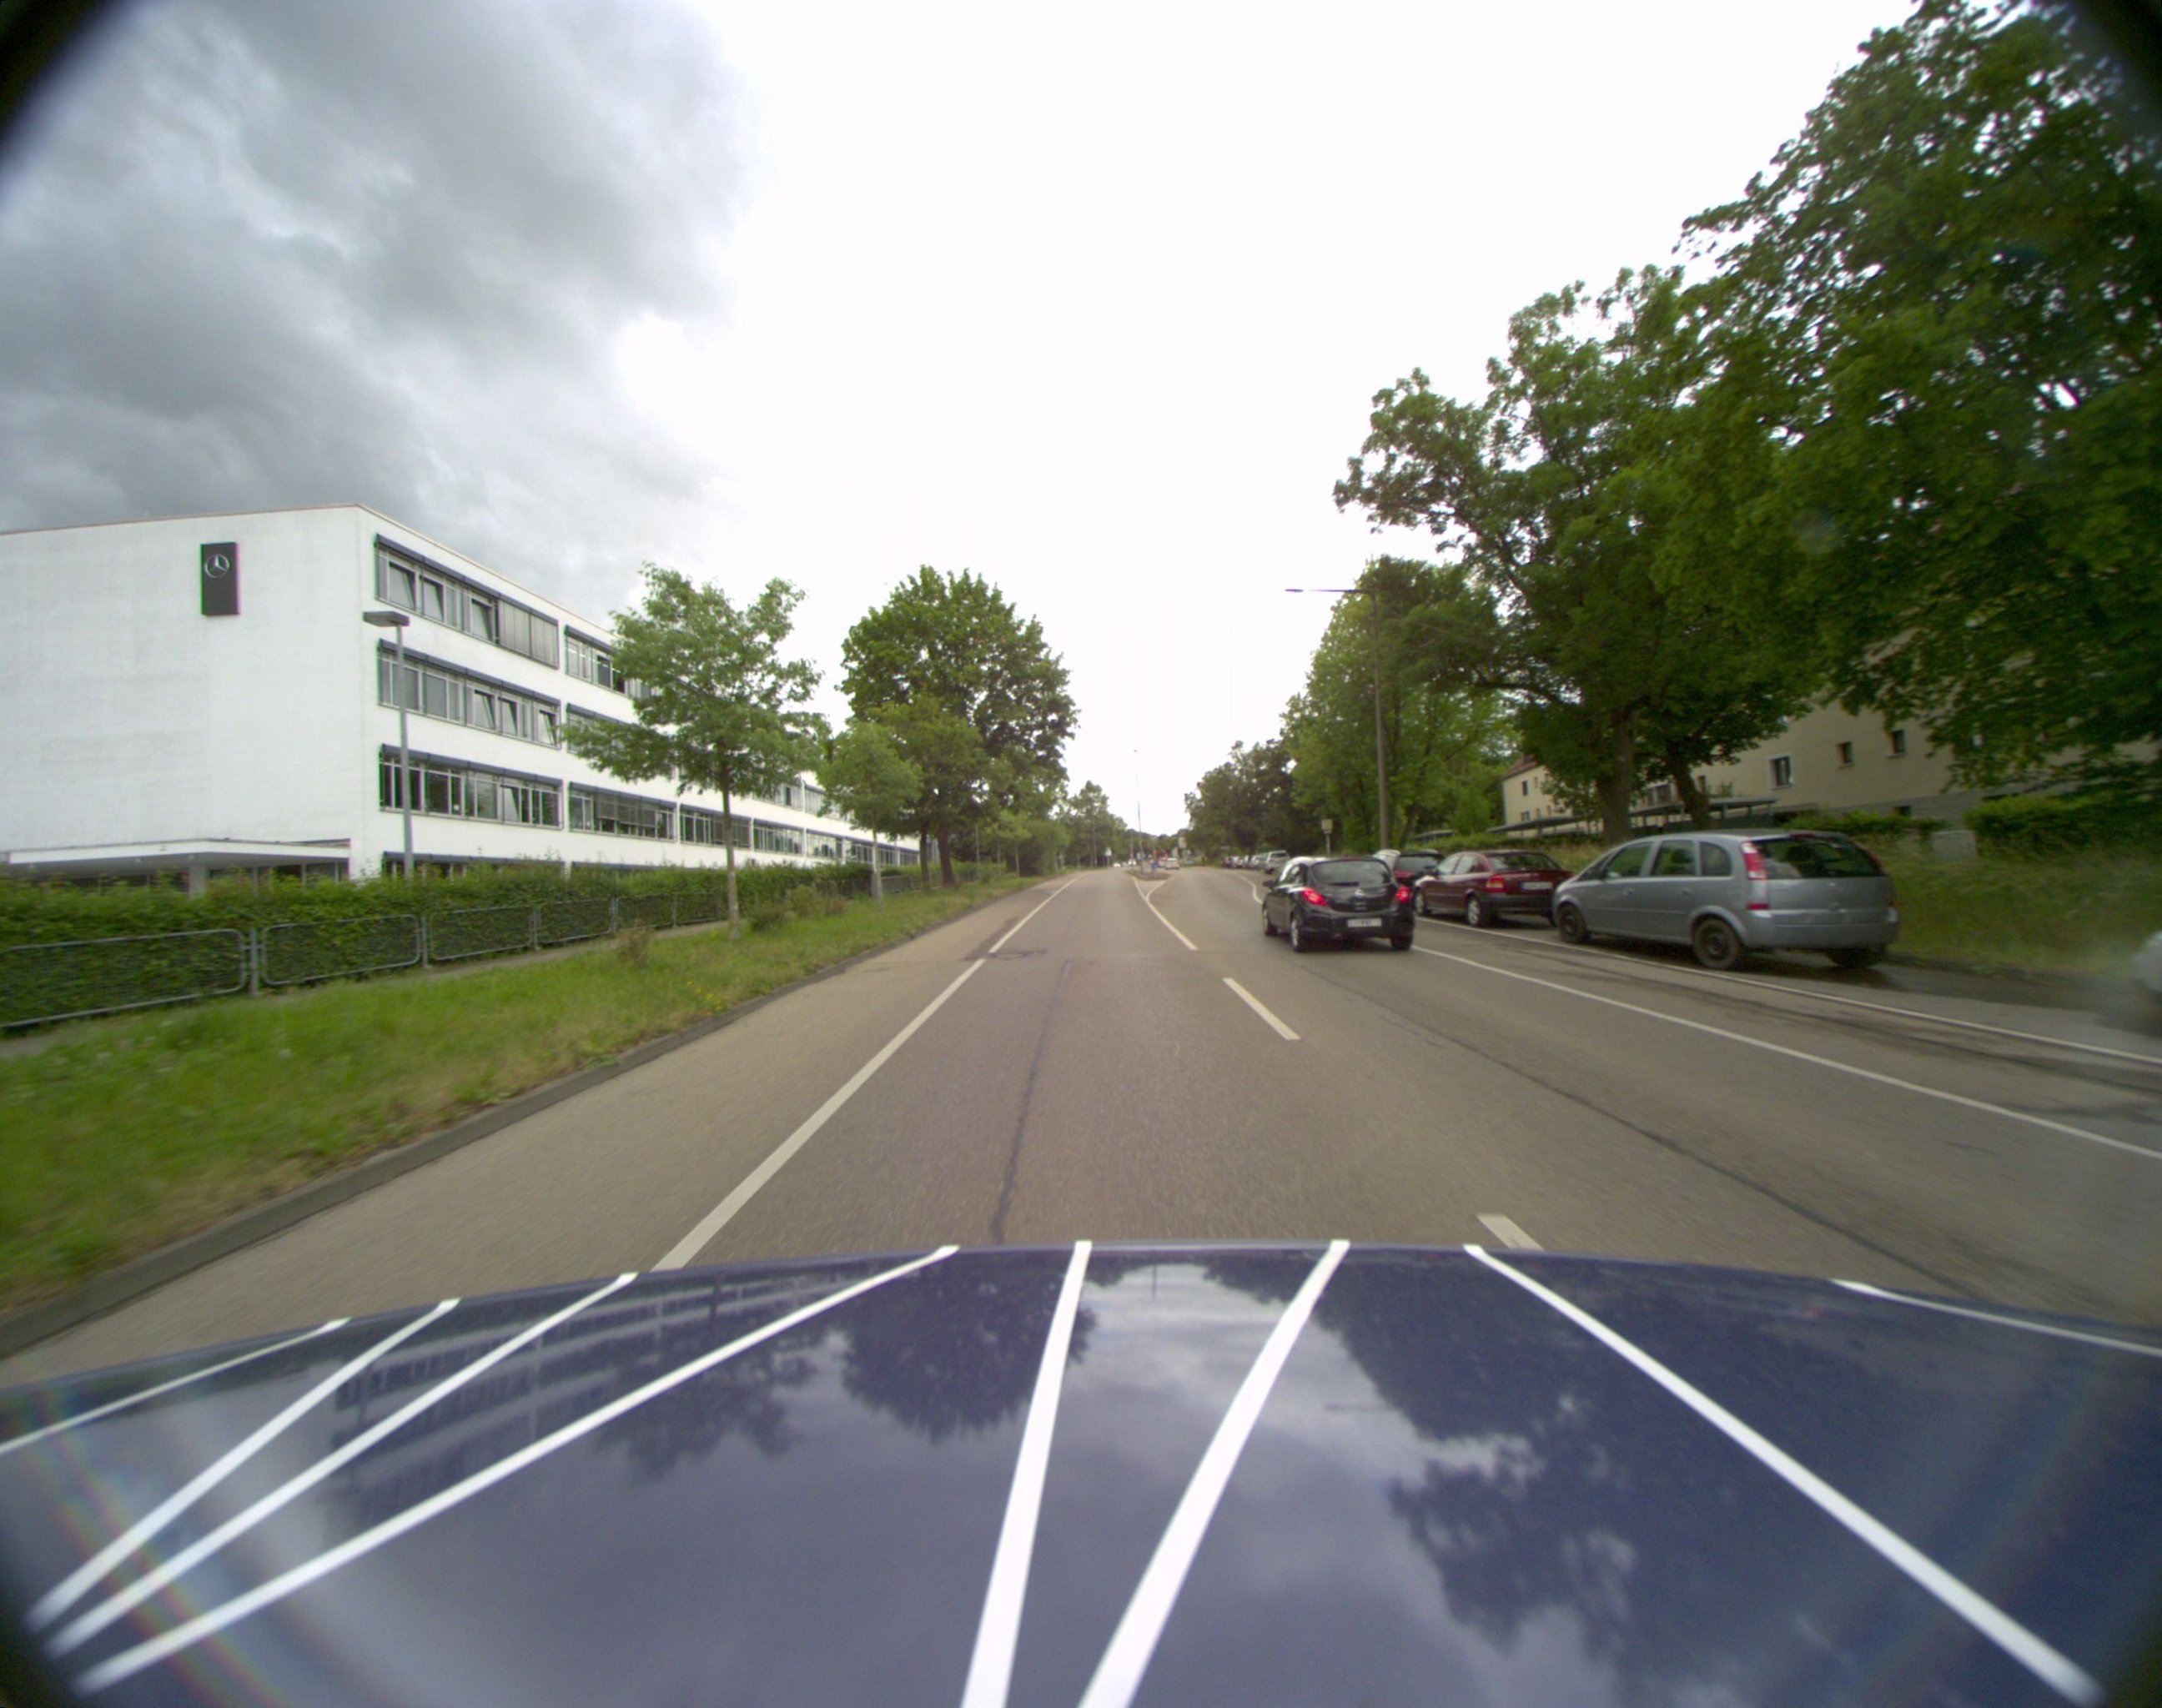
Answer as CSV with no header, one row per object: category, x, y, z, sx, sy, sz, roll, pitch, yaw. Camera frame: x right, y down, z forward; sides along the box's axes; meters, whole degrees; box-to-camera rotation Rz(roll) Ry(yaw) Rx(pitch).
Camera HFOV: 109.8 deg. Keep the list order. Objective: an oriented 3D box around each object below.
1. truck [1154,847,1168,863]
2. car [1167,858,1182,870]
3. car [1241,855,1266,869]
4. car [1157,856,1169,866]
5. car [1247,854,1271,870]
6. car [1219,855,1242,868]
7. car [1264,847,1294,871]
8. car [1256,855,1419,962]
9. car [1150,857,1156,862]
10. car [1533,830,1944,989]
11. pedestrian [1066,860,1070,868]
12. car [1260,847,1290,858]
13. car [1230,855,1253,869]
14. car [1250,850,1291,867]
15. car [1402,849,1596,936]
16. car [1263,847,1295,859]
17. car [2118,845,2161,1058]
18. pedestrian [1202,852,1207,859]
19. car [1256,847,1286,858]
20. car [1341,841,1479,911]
truck,18.088,0.264,171.359,2.830,3.460,7.827,-2,0,7
car,13.144,1.409,106.628,1.879,1.561,4.340,-3,1,5
car,18.922,0.881,83.367,1.879,1.498,4.001,-3,-1,2
car,15.153,1.329,140.326,1.832,1.759,4.408,-3,-1,2
car,18.421,0.840,78.771,1.879,1.498,4.002,-2,-1,4
car,19.482,0.995,99.168,1.880,1.498,3.887,-3,-1,-4
car,15.293,0.351,58.867,1.878,1.657,4.393,-3,1,10
car,4.041,0.768,12.630,1.641,1.458,4.001,-1,0,5
car,22.392,1.809,236.699,1.591,1.608,3.585,-2,-1,7
car,8.036,0.583,9.932,1.772,1.582,4.135,-2,0,1
pedestrian,-2.587,1.965,149.887,0.734,1.717,0.502,-1,1,-1
car,37.057,-0.336,145.371,5.296,2.002,1.740,-1,1,3
car,18.858,0.932,89.349,1.879,1.498,4.057,-3,0,2
car,17.379,0.420,69.723,1.882,1.498,3.995,-2,-1,-16
car,8.073,0.681,15.170,1.772,1.439,4.151,-2,0,4
car,35.805,-0.171,137.584,5.297,2.002,2.012,-1,1,2
car,8.351,0.667,3.328,1.772,1.486,4.357,-1,0,3
pedestrian,26.187,0.408,161.273,0.757,1.438,0.639,-3,1,3
car,37.136,-0.350,148.467,5.297,2.002,1.740,-1,1,2
car,8.469,0.505,20.068,1.879,1.561,4.652,-3,0,5
